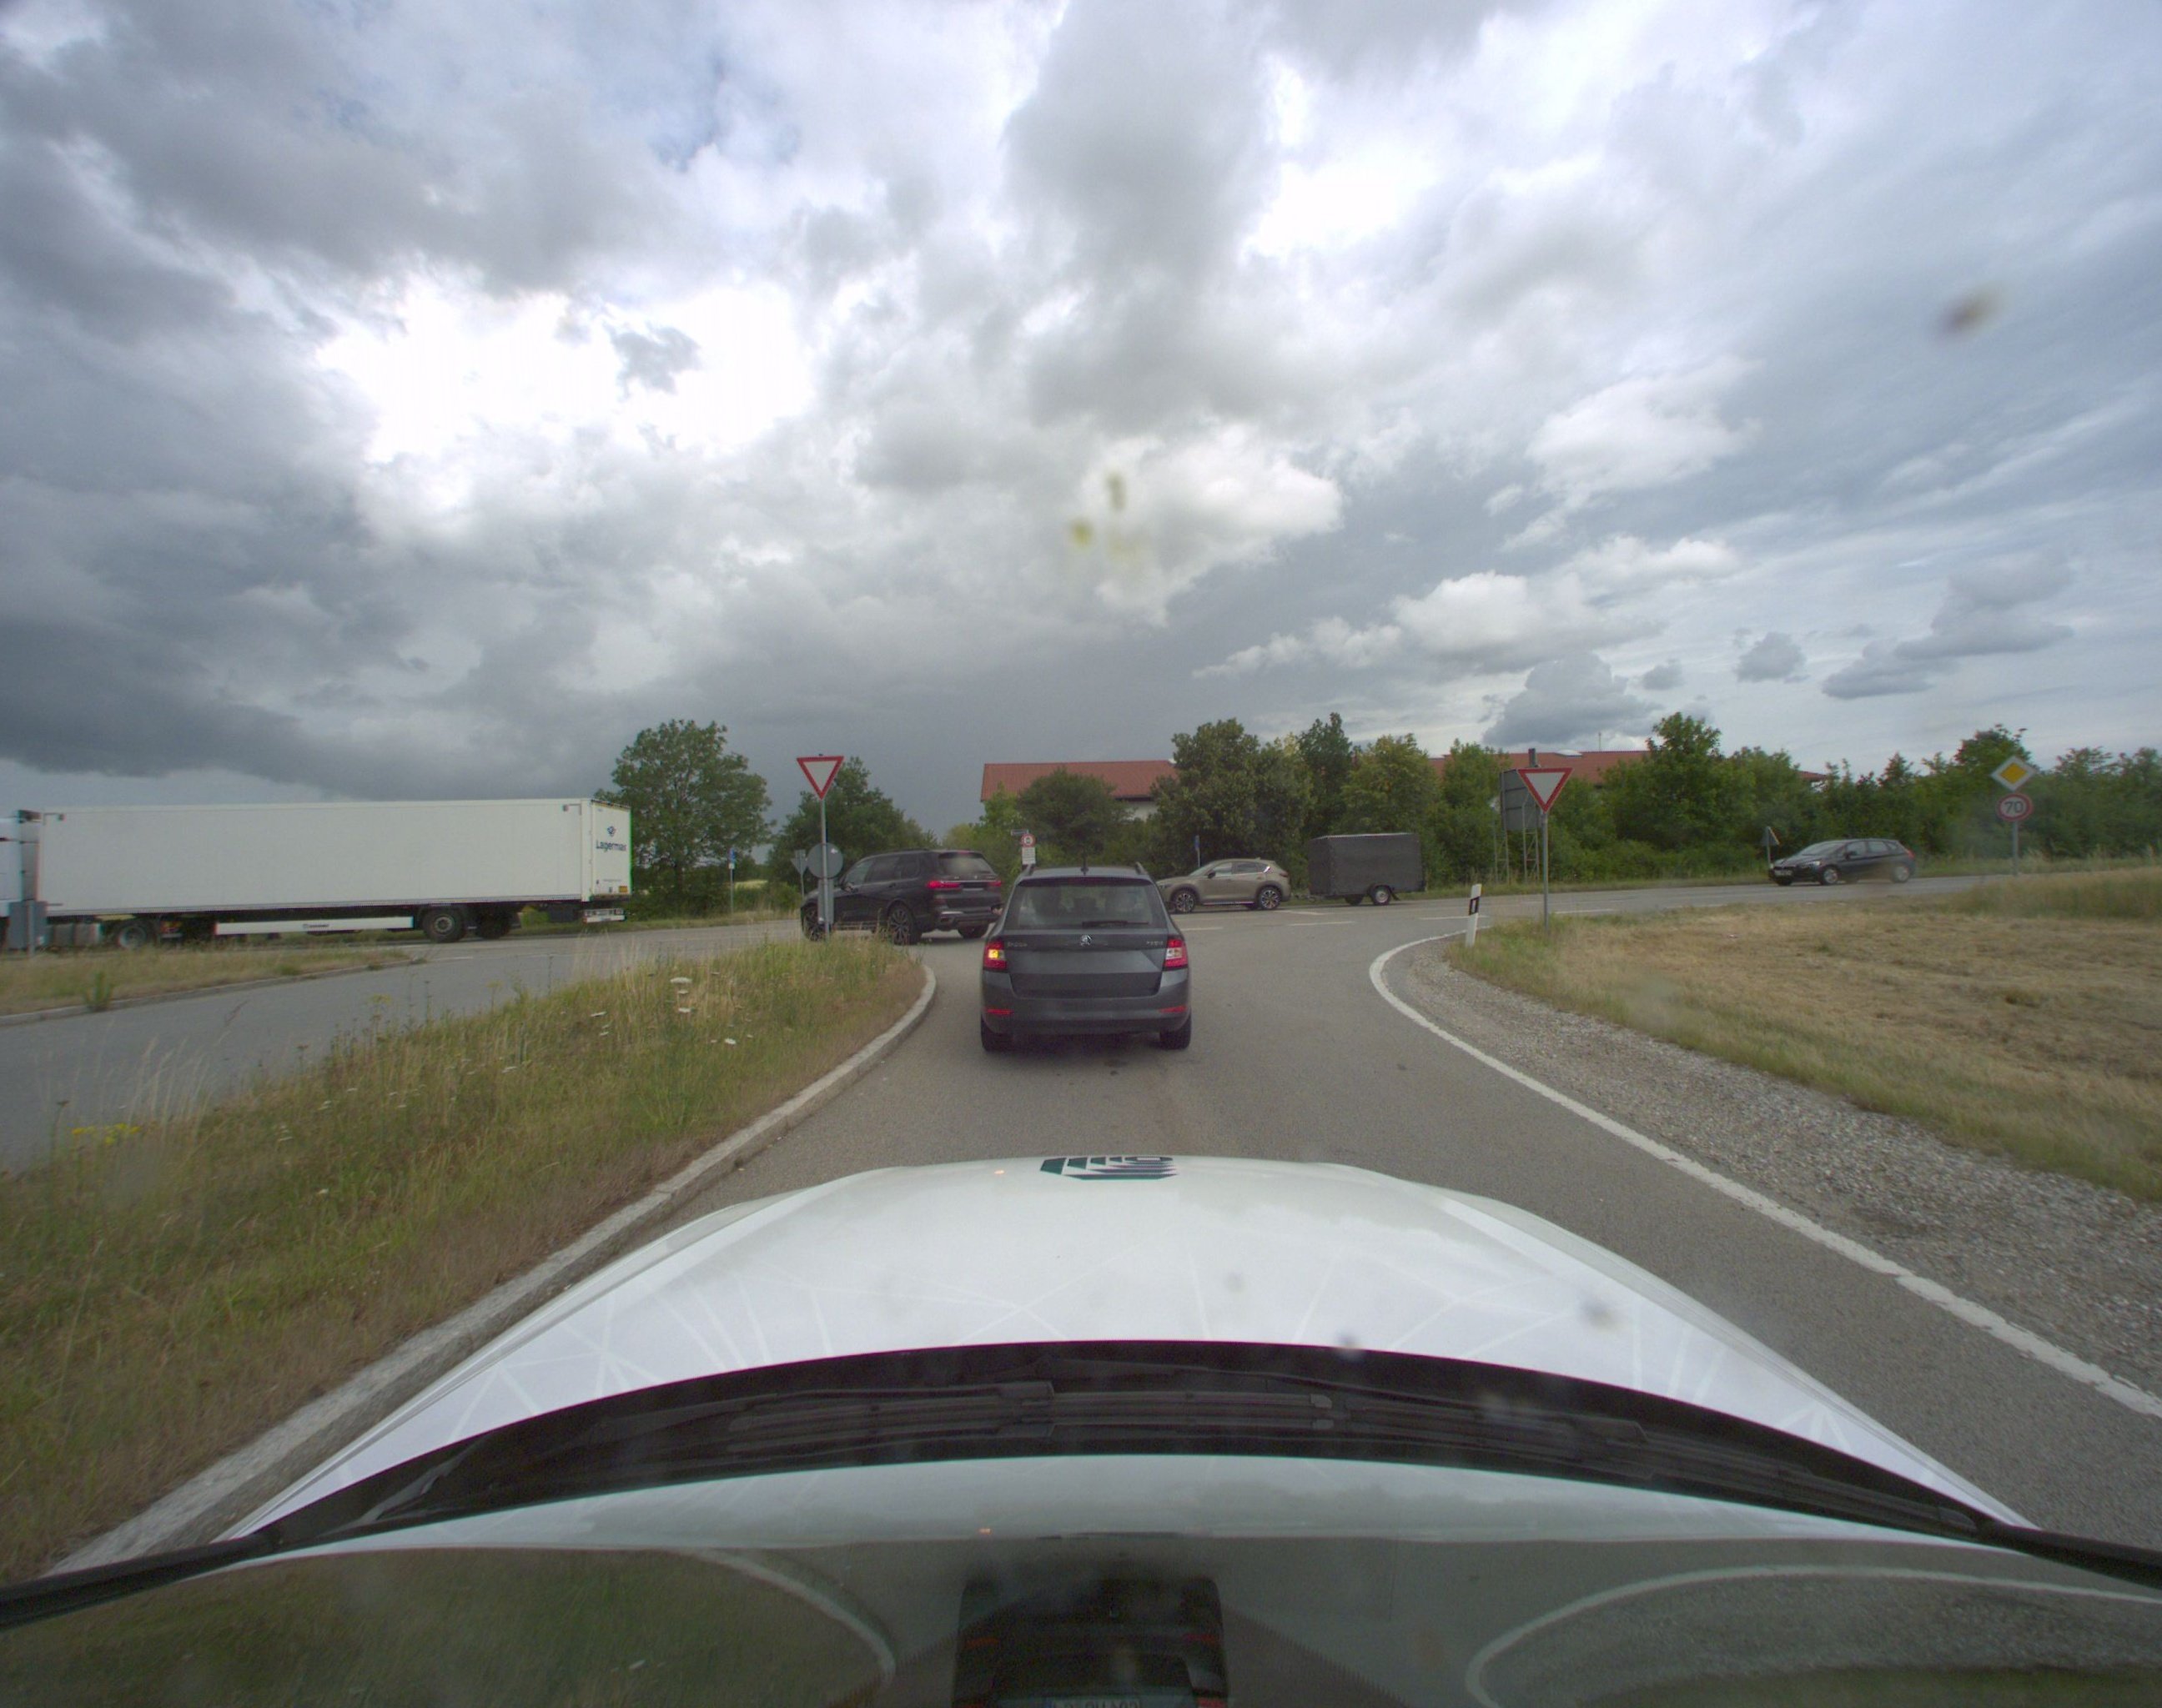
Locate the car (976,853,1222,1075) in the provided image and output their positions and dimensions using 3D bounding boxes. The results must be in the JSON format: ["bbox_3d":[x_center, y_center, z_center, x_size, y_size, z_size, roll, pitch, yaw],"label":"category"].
[{"bbox_3d":[0.008,0.779,7.481,1.673,1.463,3.702,-2,-1,-4],"label":"car"}]

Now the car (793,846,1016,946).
[{"bbox_3d":[-3.719,0.834,16.745,4.584,1.774,2.013,-3,-2,39],"label":"car"}]

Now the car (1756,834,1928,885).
[{"bbox_3d":[26.250,0.196,28.171,4.282,1.487,1.995,-3,-1,-7],"label":"car"}]

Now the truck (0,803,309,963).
[{"bbox_3d":[-27.008,0.835,22.859,7.274,4.015,3.122,-2,-2,-6],"label":"truck"}]

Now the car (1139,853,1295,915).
[{"bbox_3d":[4.259,0.941,25.890,4.462,1.682,1.994,-3,-2,-9],"label":"car"}]

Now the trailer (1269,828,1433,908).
[{"bbox_3d":[8.685,0.453,26.508,4.378,2.292,2.410,-3,-2,-8],"label":"trailer"}]

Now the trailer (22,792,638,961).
[{"bbox_3d":[-20.836,0.577,23.551,13.824,4.015,3.121,-2,-2,-6],"label":"trailer"}]
